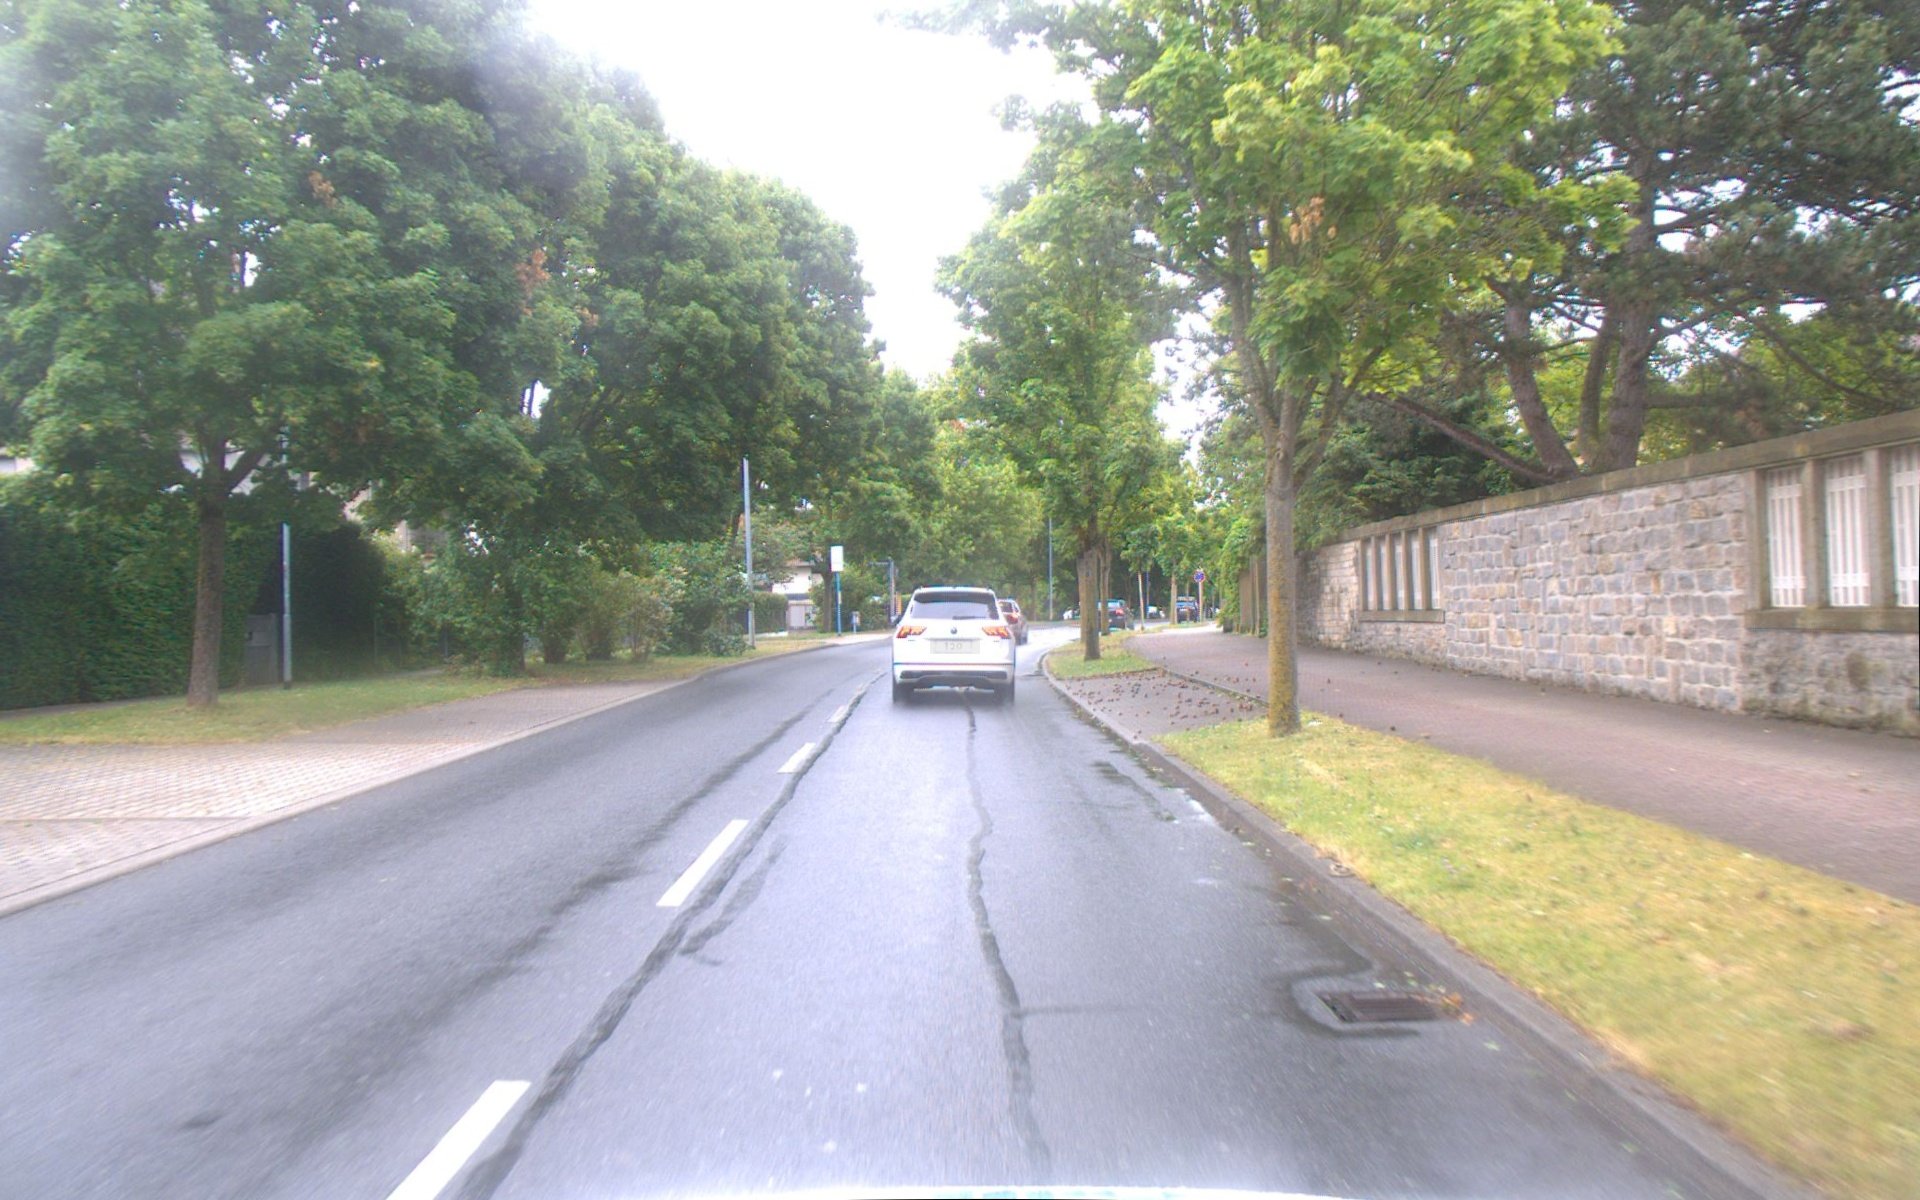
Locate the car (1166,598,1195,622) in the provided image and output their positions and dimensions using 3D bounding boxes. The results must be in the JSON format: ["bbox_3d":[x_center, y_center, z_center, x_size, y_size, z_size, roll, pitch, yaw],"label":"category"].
[{"bbox_3d":[15.093,0.711,113.028,1.801,1.513,4.003,-3,-1,8],"label":"car"}]

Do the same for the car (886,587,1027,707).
[{"bbox_3d":[-0.114,0.660,25.049,1.956,1.660,3.998,0,0,-2],"label":"car"}]

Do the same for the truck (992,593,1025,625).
[{"bbox_3d":[4.299,0.792,145.320,2.236,2.642,5.878,-2,-1,8],"label":"truck"}]

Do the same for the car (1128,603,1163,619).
[{"bbox_3d":[18.388,1.117,164.152,1.814,1.508,3.976,-2,-1,-20],"label":"car"}]

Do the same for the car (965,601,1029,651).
[{"bbox_3d":[1.279,0.875,55.540,1.802,1.513,4.002,-3,-1,5],"label":"car"}]

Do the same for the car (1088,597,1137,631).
[{"bbox_3d":[7.312,0.643,78.997,1.801,1.513,4.003,1,0,13],"label":"car"}]
